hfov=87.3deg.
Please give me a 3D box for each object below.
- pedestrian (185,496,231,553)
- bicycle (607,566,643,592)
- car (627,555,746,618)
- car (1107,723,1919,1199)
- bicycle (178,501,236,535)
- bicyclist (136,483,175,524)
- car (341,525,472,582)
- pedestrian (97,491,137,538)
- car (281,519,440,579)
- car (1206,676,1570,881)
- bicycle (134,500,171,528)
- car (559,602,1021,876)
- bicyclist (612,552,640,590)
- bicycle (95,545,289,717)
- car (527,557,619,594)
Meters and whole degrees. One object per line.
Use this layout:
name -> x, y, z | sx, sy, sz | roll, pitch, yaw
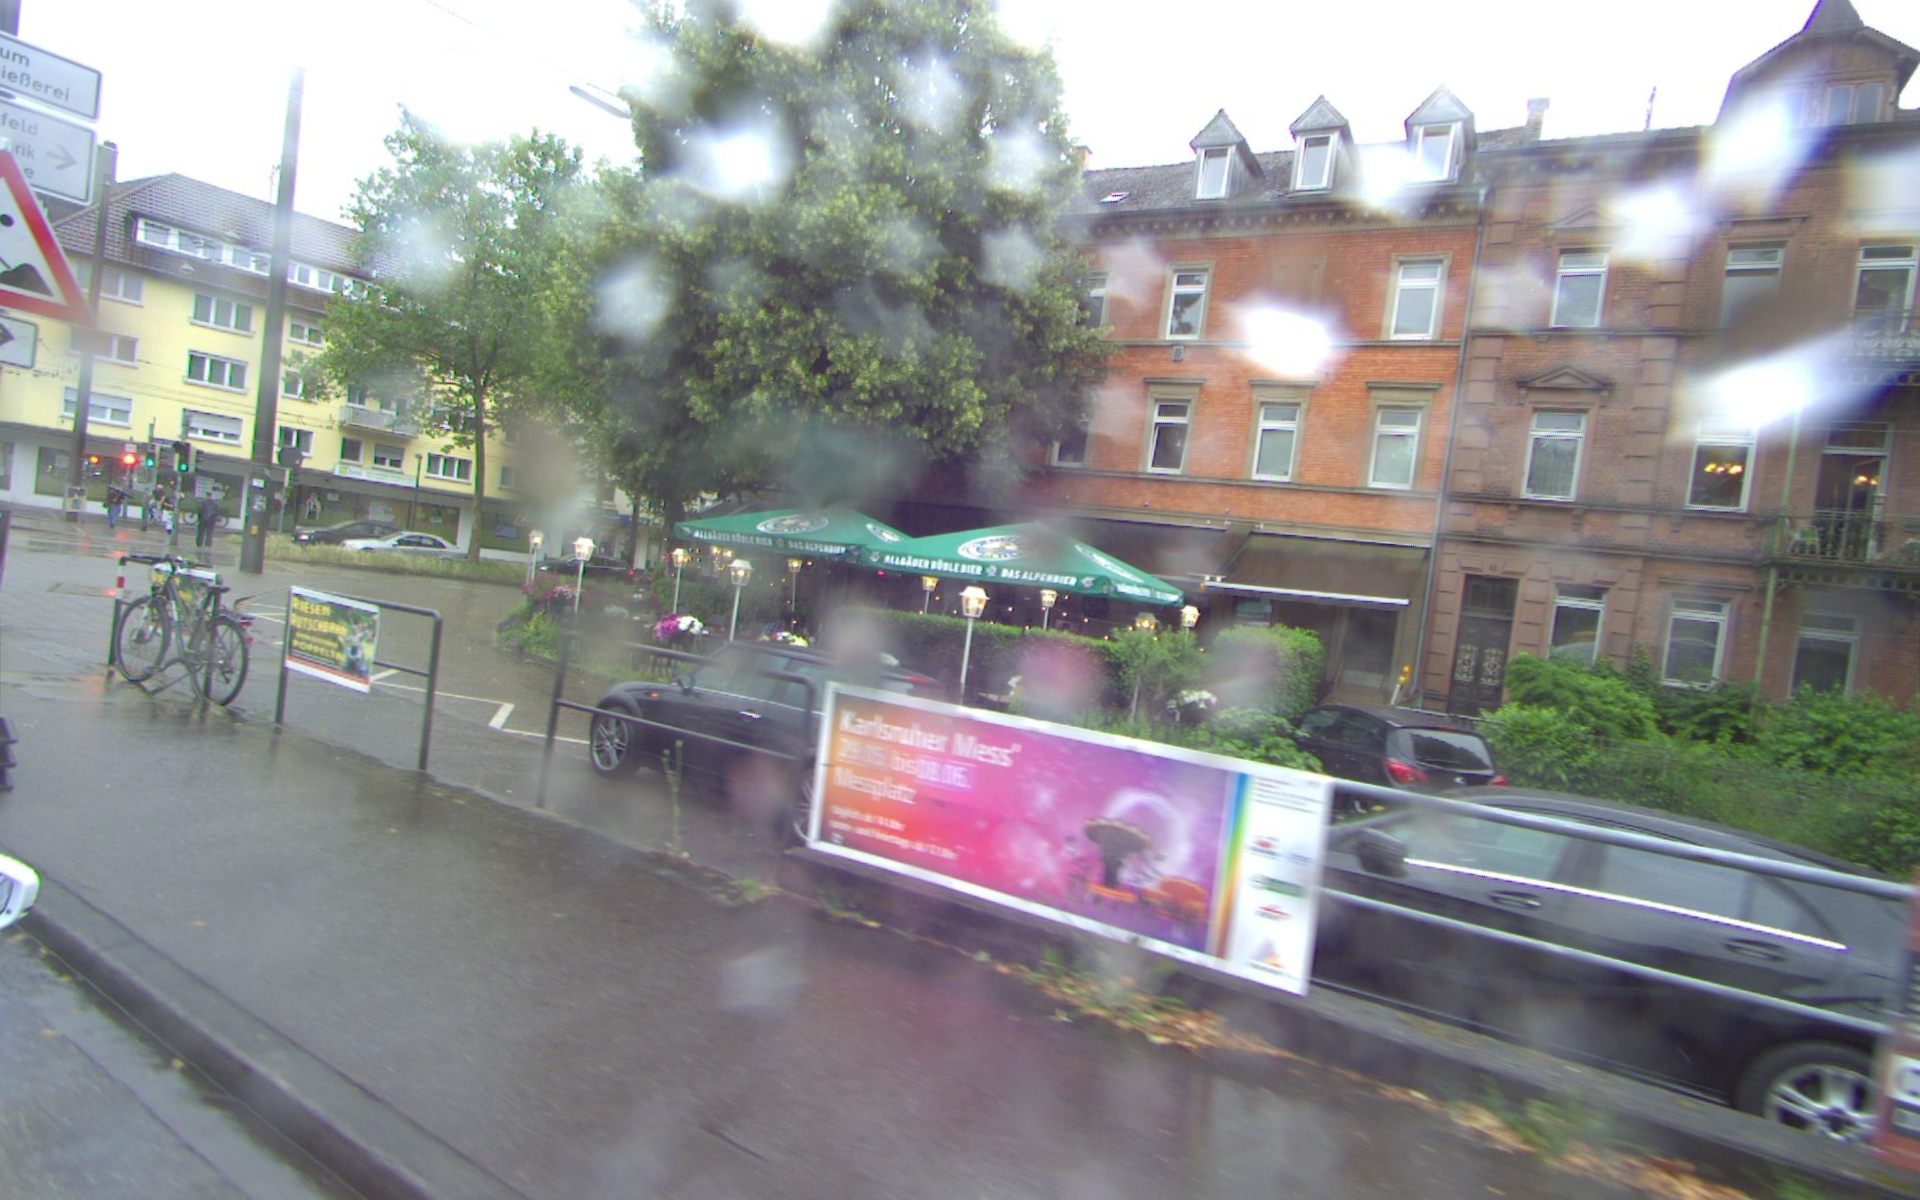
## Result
pedestrian -> -24.200, -2.424, 32.403 | 0.898, 1.689, 1.012 | 7, 0, -30
bicycle -> -15.984, -0.994, 47.964 | 0.415, 1.014, 1.640 | 7, -1, 32
car -> -10.876, -0.515, 40.175 | 1.972, 1.888, 3.982 | 7, -1, 42
car -> 3.042, 1.743, 5.679 | 3.907, 1.417, 1.705 | 7, -1, 32
bicycle -> -36.629, -3.985, 48.969 | 2.096, 1.277, 0.525 | 8, 1, -44
bicyclist -> -34.777, -4.151, 43.515 | 0.924, 1.566, 1.063 | 7, 0, -24
car -> -20.873, -1.727, 37.988 | 3.925, 1.508, 1.784 | 8, 0, -43
pedestrian -> -30.187, -3.059, 36.039 | 0.612, 1.552, 0.816 | 7, 0, -6
car -> -23.502, -1.956, 39.579 | 1.975, 1.661, 4.928 | 4, -3, 44
car -> 5.211, 2.136, 12.901 | 1.972, 1.733, 3.983 | 8, -1, -19
bicycle -> -34.862, -3.705, 43.459 | 0.651, 1.039, 2.013 | 7, -1, -23
car -> -1.493, 1.064, 8.527 | 3.467, 1.457, 1.709 | 8, -3, 34
bicyclist -> -15.935, -1.377, 47.971 | 0.699, 1.635, 0.815 | 7, 0, 33
bicycle -> -6.315, 0.225, 8.231 | 1.984, 1.119, 0.515 | 7, -2, 34
car -> -16.536, -1.038, 43.110 | 1.227, 1.095, 3.531 | 7, -1, 35
